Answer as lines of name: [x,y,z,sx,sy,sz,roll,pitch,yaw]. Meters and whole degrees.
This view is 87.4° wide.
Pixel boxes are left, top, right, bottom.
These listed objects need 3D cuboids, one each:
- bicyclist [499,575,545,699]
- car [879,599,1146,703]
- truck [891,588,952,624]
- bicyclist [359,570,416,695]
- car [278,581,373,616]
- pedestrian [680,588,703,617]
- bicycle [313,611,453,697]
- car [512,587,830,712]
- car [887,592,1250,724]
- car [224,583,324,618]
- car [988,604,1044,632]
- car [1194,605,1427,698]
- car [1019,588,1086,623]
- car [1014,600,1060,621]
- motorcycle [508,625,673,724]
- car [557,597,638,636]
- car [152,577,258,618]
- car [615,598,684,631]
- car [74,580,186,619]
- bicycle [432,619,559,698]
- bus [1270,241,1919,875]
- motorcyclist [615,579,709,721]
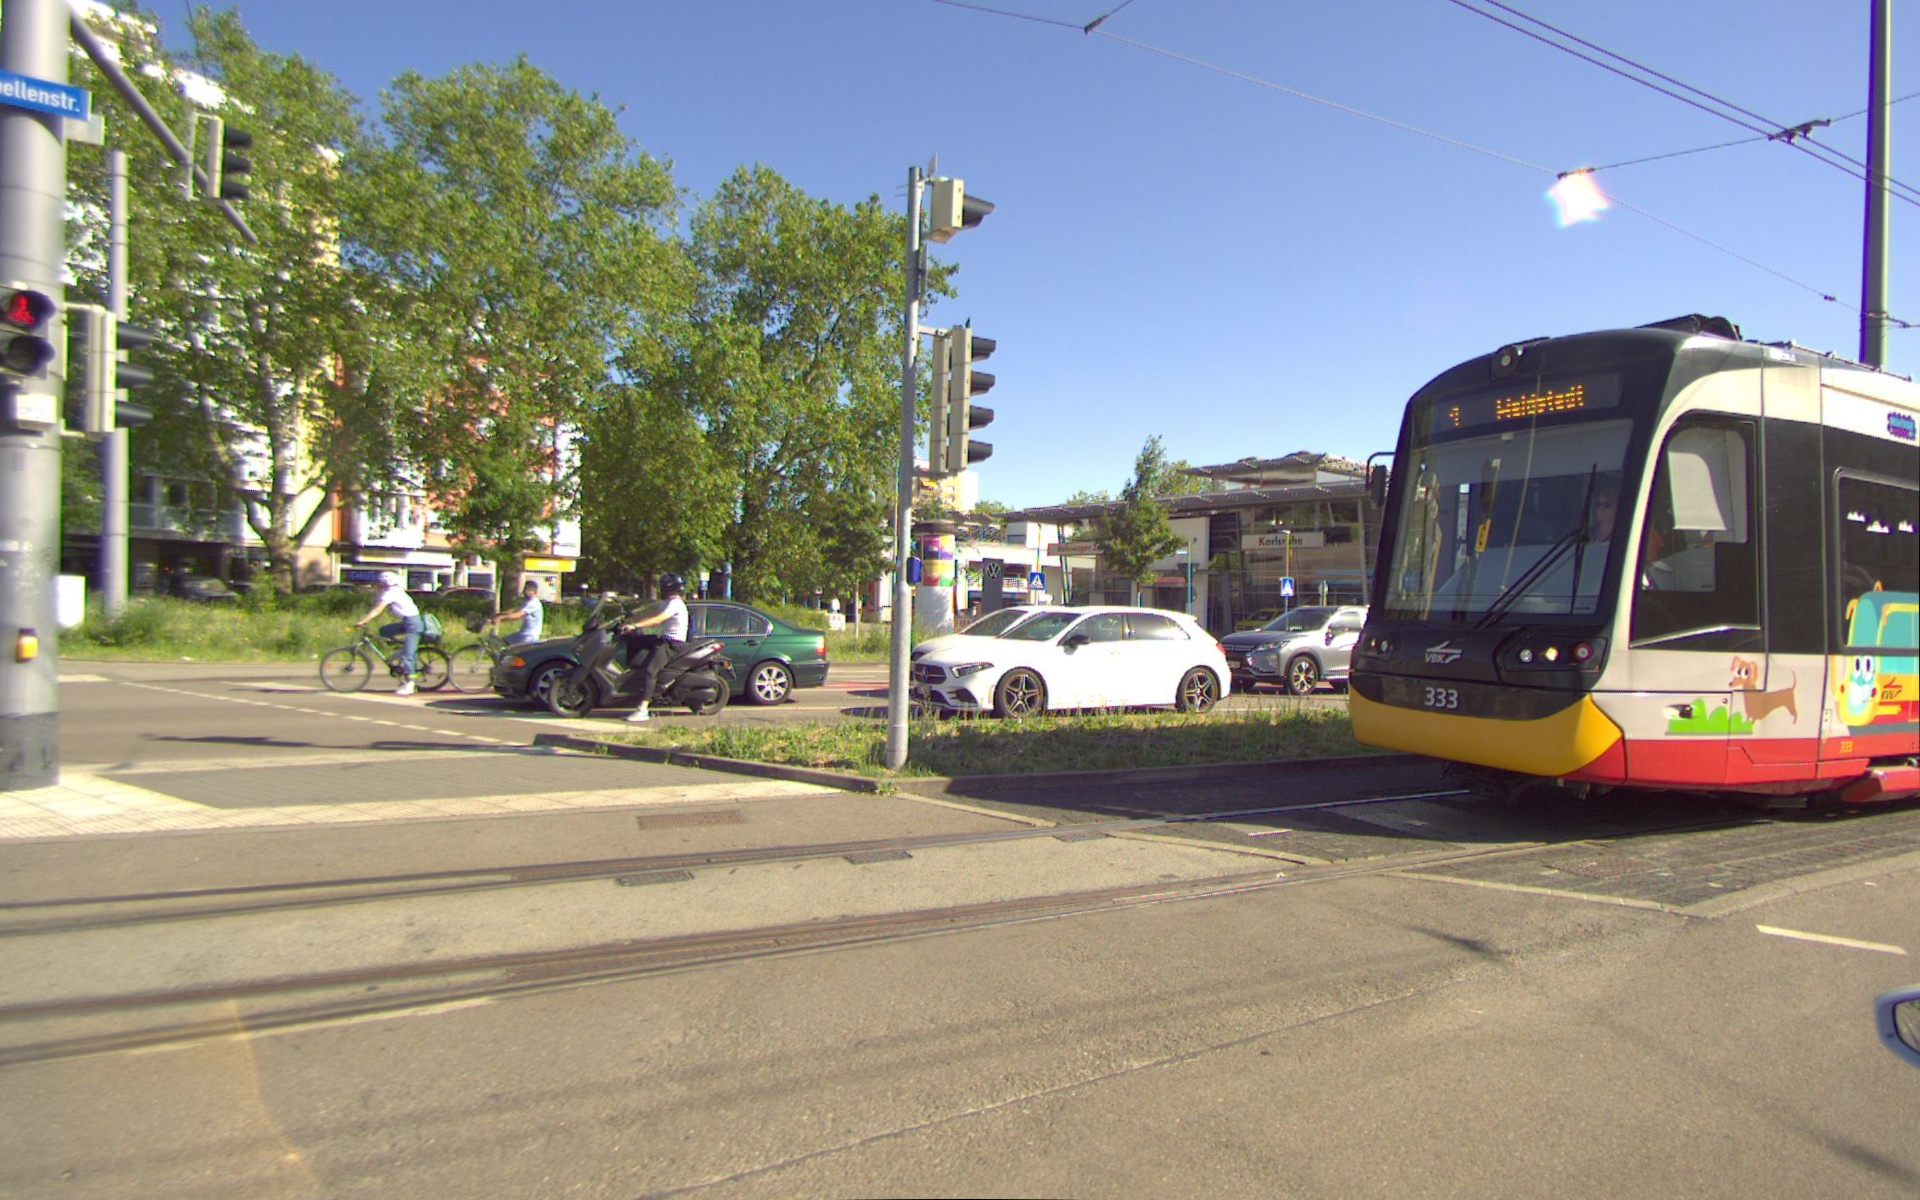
bicyclist: [-6.453,0.524,14.797,0.593,1.766,0.572,0,3,-26]
car: [0.859,0.821,16.380,3.947,1.451,1.796,3,1,-26]
truck: [-2.687,0.412,69.527,1.984,2.251,4.167,2,2,-40]
bicyclist: [-8.348,0.462,14.666,0.669,1.766,0.572,0,2,-26]
car: [-29.467,-0.066,46.647,3.925,1.519,1.998,2,0,26]
pedestrian: [-19.612,0.211,73.461,1.087,2.040,1.177,3,1,22]
bicycle: [-8.384,0.767,14.667,1.730,1.200,0.536,1,0,-27]
car: [-3.910,0.668,13.657,3.918,1.498,1.644,2,-1,-26]
car: [1.468,0.749,13.290,4.481,1.451,1.796,3,1,-26]
car: [-30.491,0.011,44.657,3.925,1.407,1.998,2,0,26]
car: [4.048,1.318,73.110,1.982,1.780,3.958,2,1,-37]
car: [6.674,0.970,19.071,4.110,1.599,1.797,2,-1,-26]
car: [6.040,0.377,65.928,3.945,2.040,1.988,4,2,44]
car: [7.294,0.974,95.404,3.960,1.822,1.980,2,1,-35]
motorcycle: [-4.215,0.834,11.487,1.723,1.061,0.517,1,-1,-25]
car: [-17.038,0.754,47.125,3.803,1.652,1.989,2,-1,43]
car: [-31.659,-0.095,42.136,3.925,1.586,1.998,2,0,26]
car: [-17.306,0.795,55.981,3.803,1.652,1.989,2,-1,43]
car: [-33.031,-0.041,39.958,3.925,1.407,1.998,2,0,26]
bicycle: [-6.751,0.831,14.638,1.633,1.088,0.536,1,0,-27]
bus: [9.187,-0.071,10.028,13.319,3.637,2.831,2,0,-27]
motorcyclist: [-3.502,0.588,11.793,0.930,1.600,0.583,2,-1,-25]
